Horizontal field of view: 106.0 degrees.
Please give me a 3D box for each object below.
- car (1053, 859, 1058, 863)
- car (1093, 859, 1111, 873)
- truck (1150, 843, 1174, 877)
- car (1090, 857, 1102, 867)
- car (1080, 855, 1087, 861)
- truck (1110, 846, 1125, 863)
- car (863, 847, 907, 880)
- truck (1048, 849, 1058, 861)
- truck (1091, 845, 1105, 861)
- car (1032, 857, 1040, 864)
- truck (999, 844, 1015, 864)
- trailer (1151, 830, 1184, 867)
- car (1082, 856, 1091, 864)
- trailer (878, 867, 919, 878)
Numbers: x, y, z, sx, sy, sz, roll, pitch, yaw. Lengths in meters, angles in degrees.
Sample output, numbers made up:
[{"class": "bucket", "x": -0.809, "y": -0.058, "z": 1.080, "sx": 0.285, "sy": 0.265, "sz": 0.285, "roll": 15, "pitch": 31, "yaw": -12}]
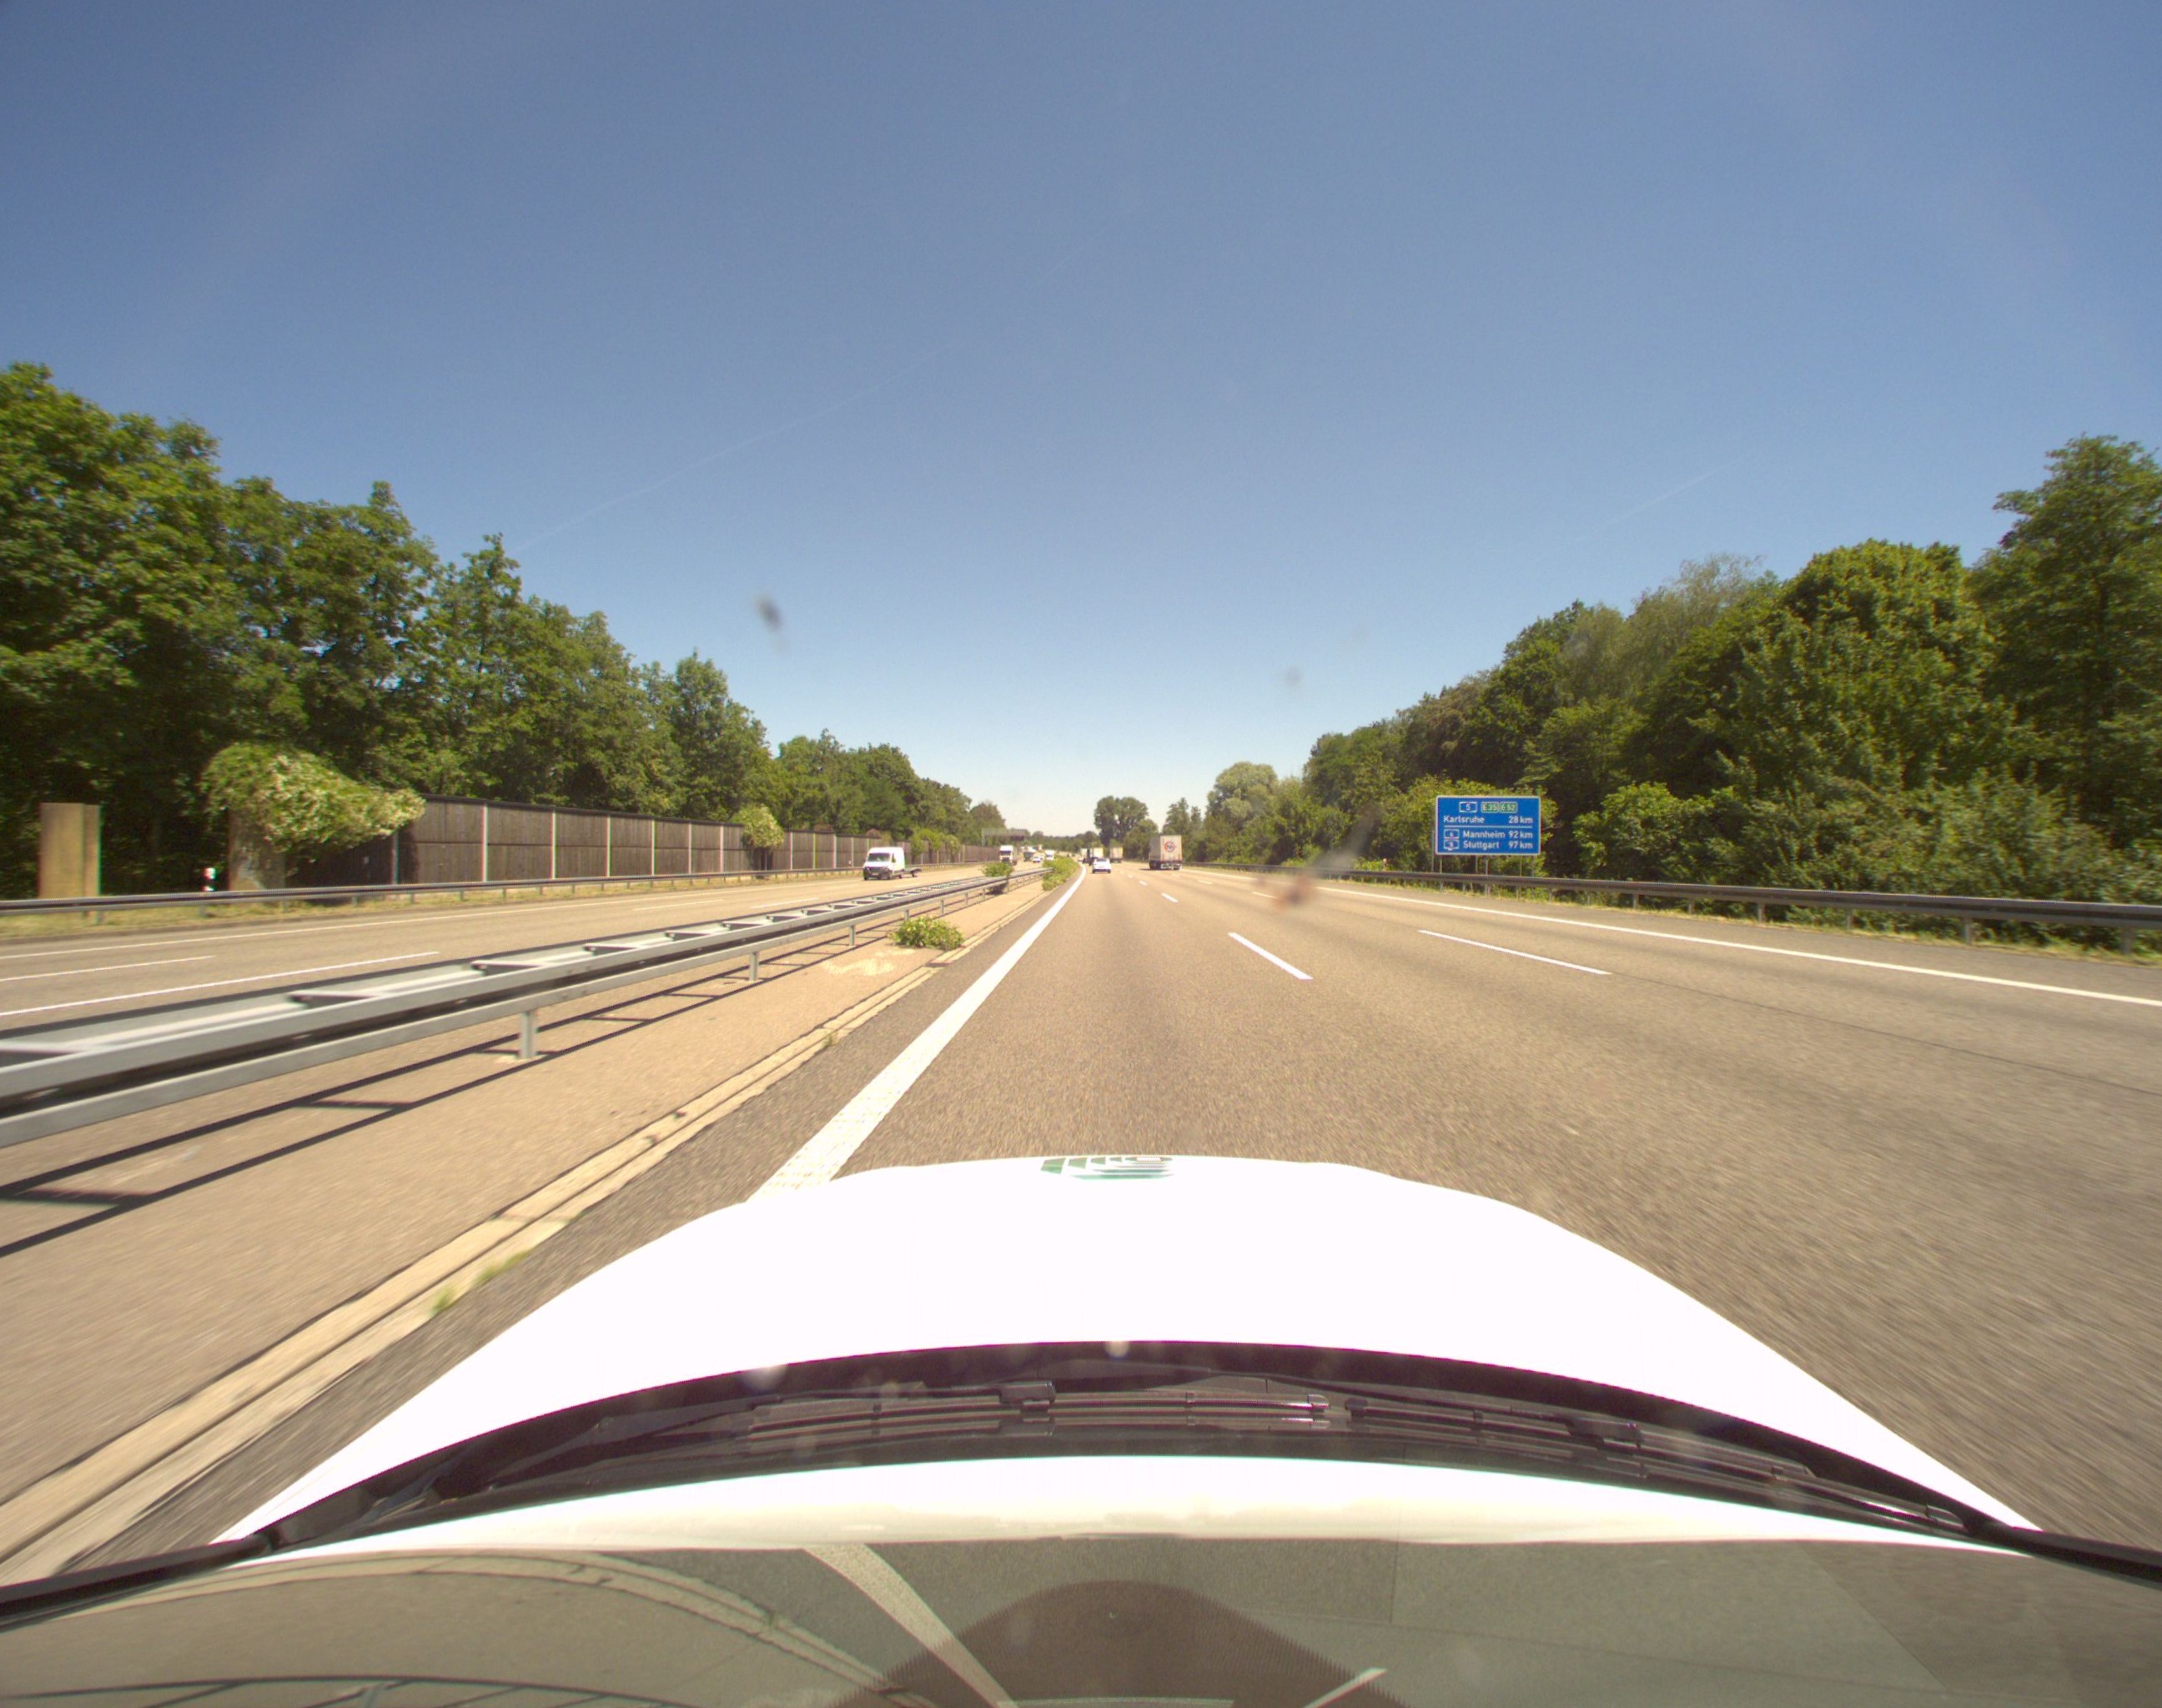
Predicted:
[{"class": "car", "x": -7.969, "y": 2.118, "z": 252.762, "sx": 1.621, "sy": 1.390, "sz": 3.912, "roll": -1, "pitch": 0, "yaw": -1}, {"class": "car", "x": 2.063, "y": 1.156, "z": 80.765, "sx": 1.709, "sy": 1.369, "sz": 3.376, "roll": -1, "pitch": 0, "yaw": 2}, {"class": "truck", "x": 10.442, "y": 0.752, "z": 105.634, "sx": 2.597, "sy": 4.287, "sz": 5.435, "roll": 0, "pitch": 0, "yaw": 0}, {"class": "car", "x": 2.769, "y": 1.545, "z": 151.890, "sx": 1.989, "sy": 1.772, "sz": 3.996, "roll": -1, "pitch": 0, "yaw": -2}, {"class": "car", "x": 0.769, "y": 1.153, "z": 251.418, "sx": 1.720, "sy": 1.783, "sz": 3.995, "roll": -1, "pitch": 0, "yaw": -3}, {"class": "truck", "x": 9.520, "y": 0.114, "z": 213.083, "sx": 3.481, "sy": 4.311, "sz": 10.986, "roll": -1, "pitch": 0, "yaw": 0}, {"class": "car", "x": -14.990, "y": 0.712, "z": 62.502, "sx": 2.017, "sy": 2.431, "sz": 5.412, "roll": -1, "pitch": 0, "yaw": 0}, {"class": "truck", "x": -7.105, "y": 0.285, "z": 208.636, "sx": 2.186, "sy": 3.114, "sz": 8.533, "roll": -1, "pitch": 0, "yaw": 0}, {"class": "truck", "x": 4.795, "y": -0.193, "z": 230.579, "sx": 3.350, "sy": 4.311, "sz": 10.824, "roll": 0, "pitch": 0, "yaw": -1}, {"class": "car", "x": -11.956, "y": 1.687, "z": 214.682, "sx": 1.862, "sy": 1.820, "sz": 4.816, "roll": -1, "pitch": 0, "yaw": 0}, {"class": "truck", "x": -14.854, "y": 0.003, "z": 164.627, "sx": 2.678, "sy": 3.895, "sz": 5.572, "roll": 0, "pitch": 0, "yaw": 0}, {"class": "trailer", "x": 10.378, "y": -0.601, "z": 98.953, "sx": 2.615, "sy": 4.261, "sz": 14.060, "roll": -1, "pitch": 0, "yaw": 0}, {"class": "car", "x": 1.386, "y": 1.505, "z": 198.382, "sx": 1.989, "sy": 2.013, "sz": 3.995, "roll": -1, "pitch": 0, "yaw": -3}, {"class": "trailer", "x": -15.202, "y": 1.503, "z": 68.339, "sx": 2.155, "sy": 0.807, "sz": 6.277, "roll": -1, "pitch": 0, "yaw": -1}]
